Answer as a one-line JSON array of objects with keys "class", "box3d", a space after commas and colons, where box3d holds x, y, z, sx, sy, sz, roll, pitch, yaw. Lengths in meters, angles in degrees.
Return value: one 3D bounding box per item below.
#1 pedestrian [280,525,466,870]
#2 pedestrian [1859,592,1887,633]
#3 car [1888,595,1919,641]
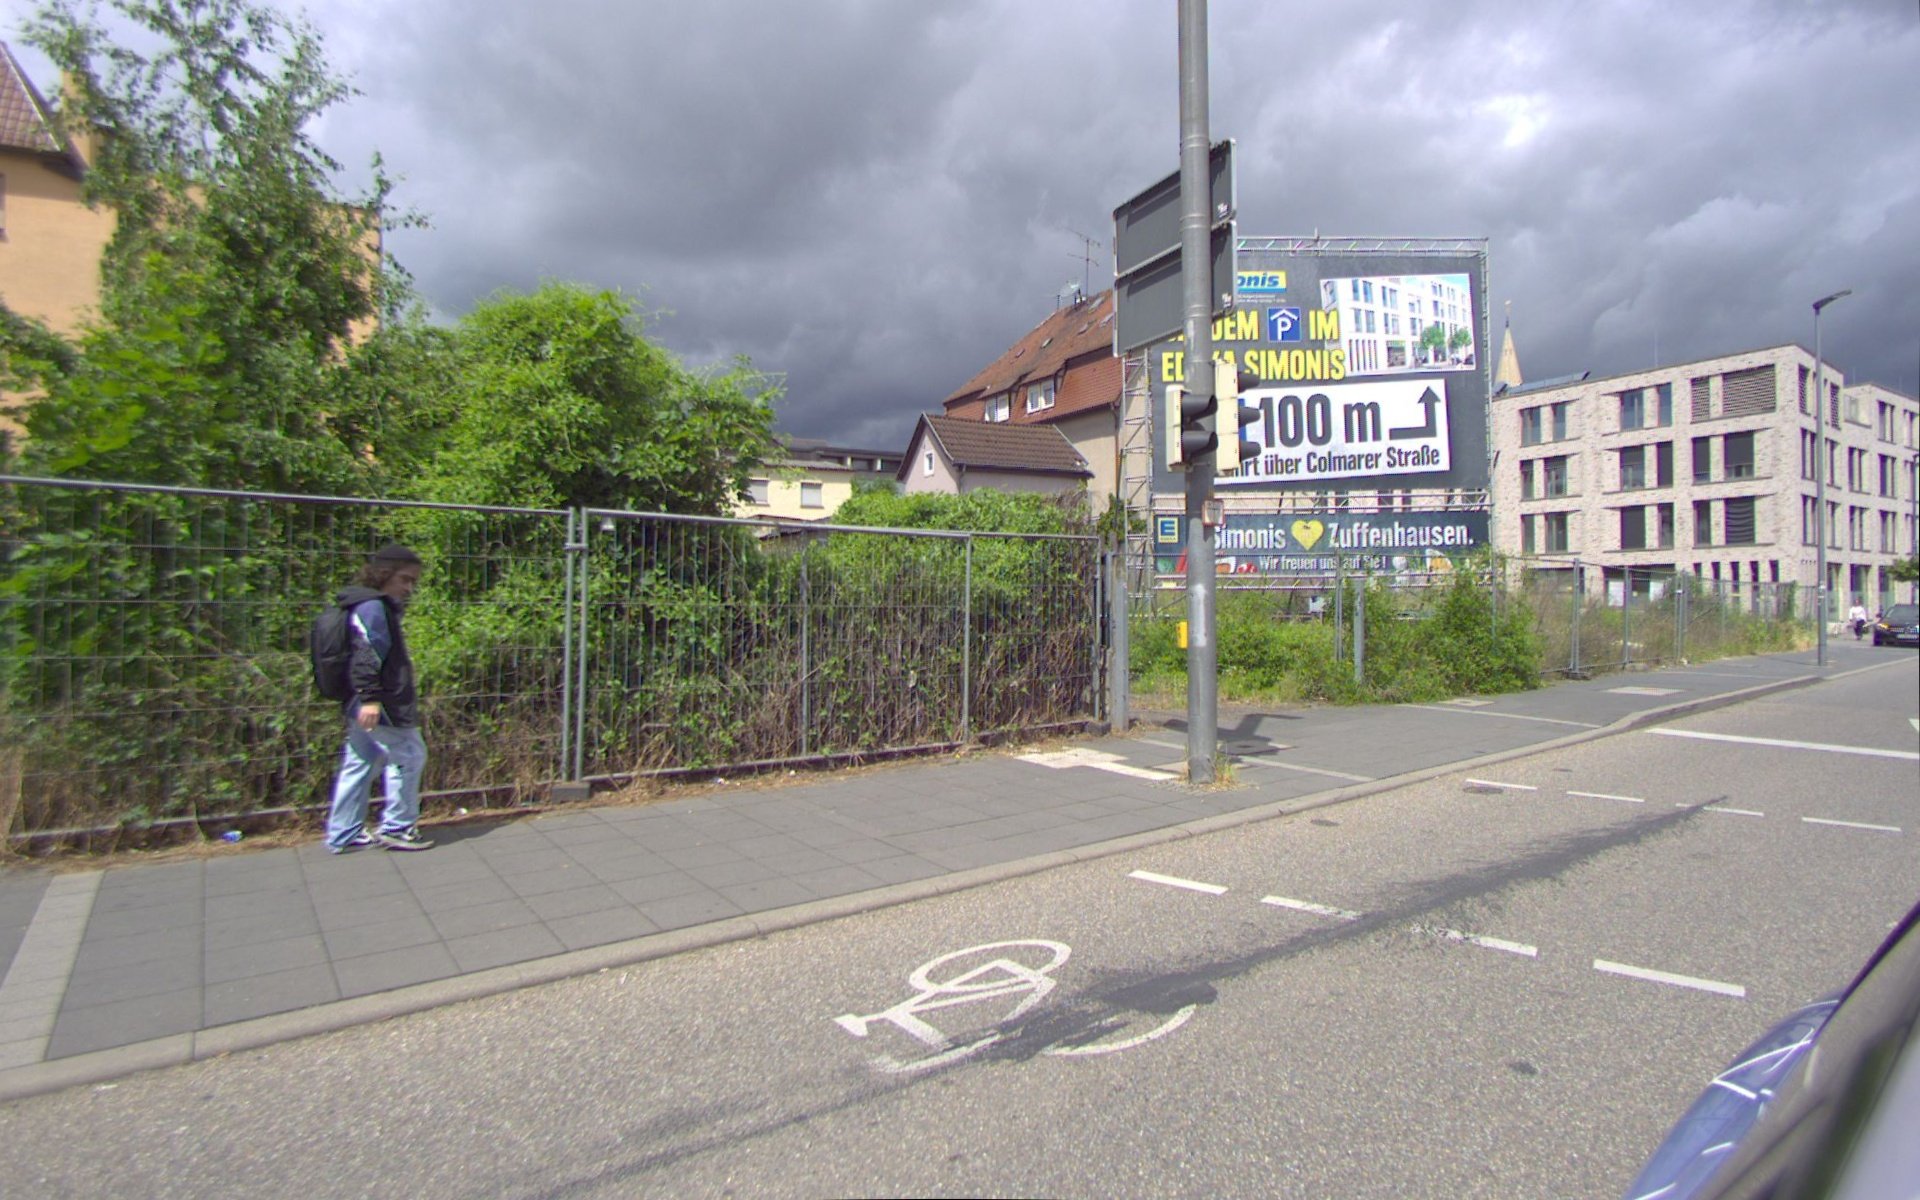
[{"class": "pedestrian", "box3d": [-3.103, 0.468, 5.399, 0.762, 1.663, 0.768, 2, 0, -29]}, {"class": "pedestrian", "box3d": [34.438, 0.475, 38.167, 0.769, 1.531, 0.673, 1, 0, -41]}, {"class": "car", "box3d": [32.724, 0.596, 34.027, 3.726, 1.441, 1.678, -1, 2, -39]}]
